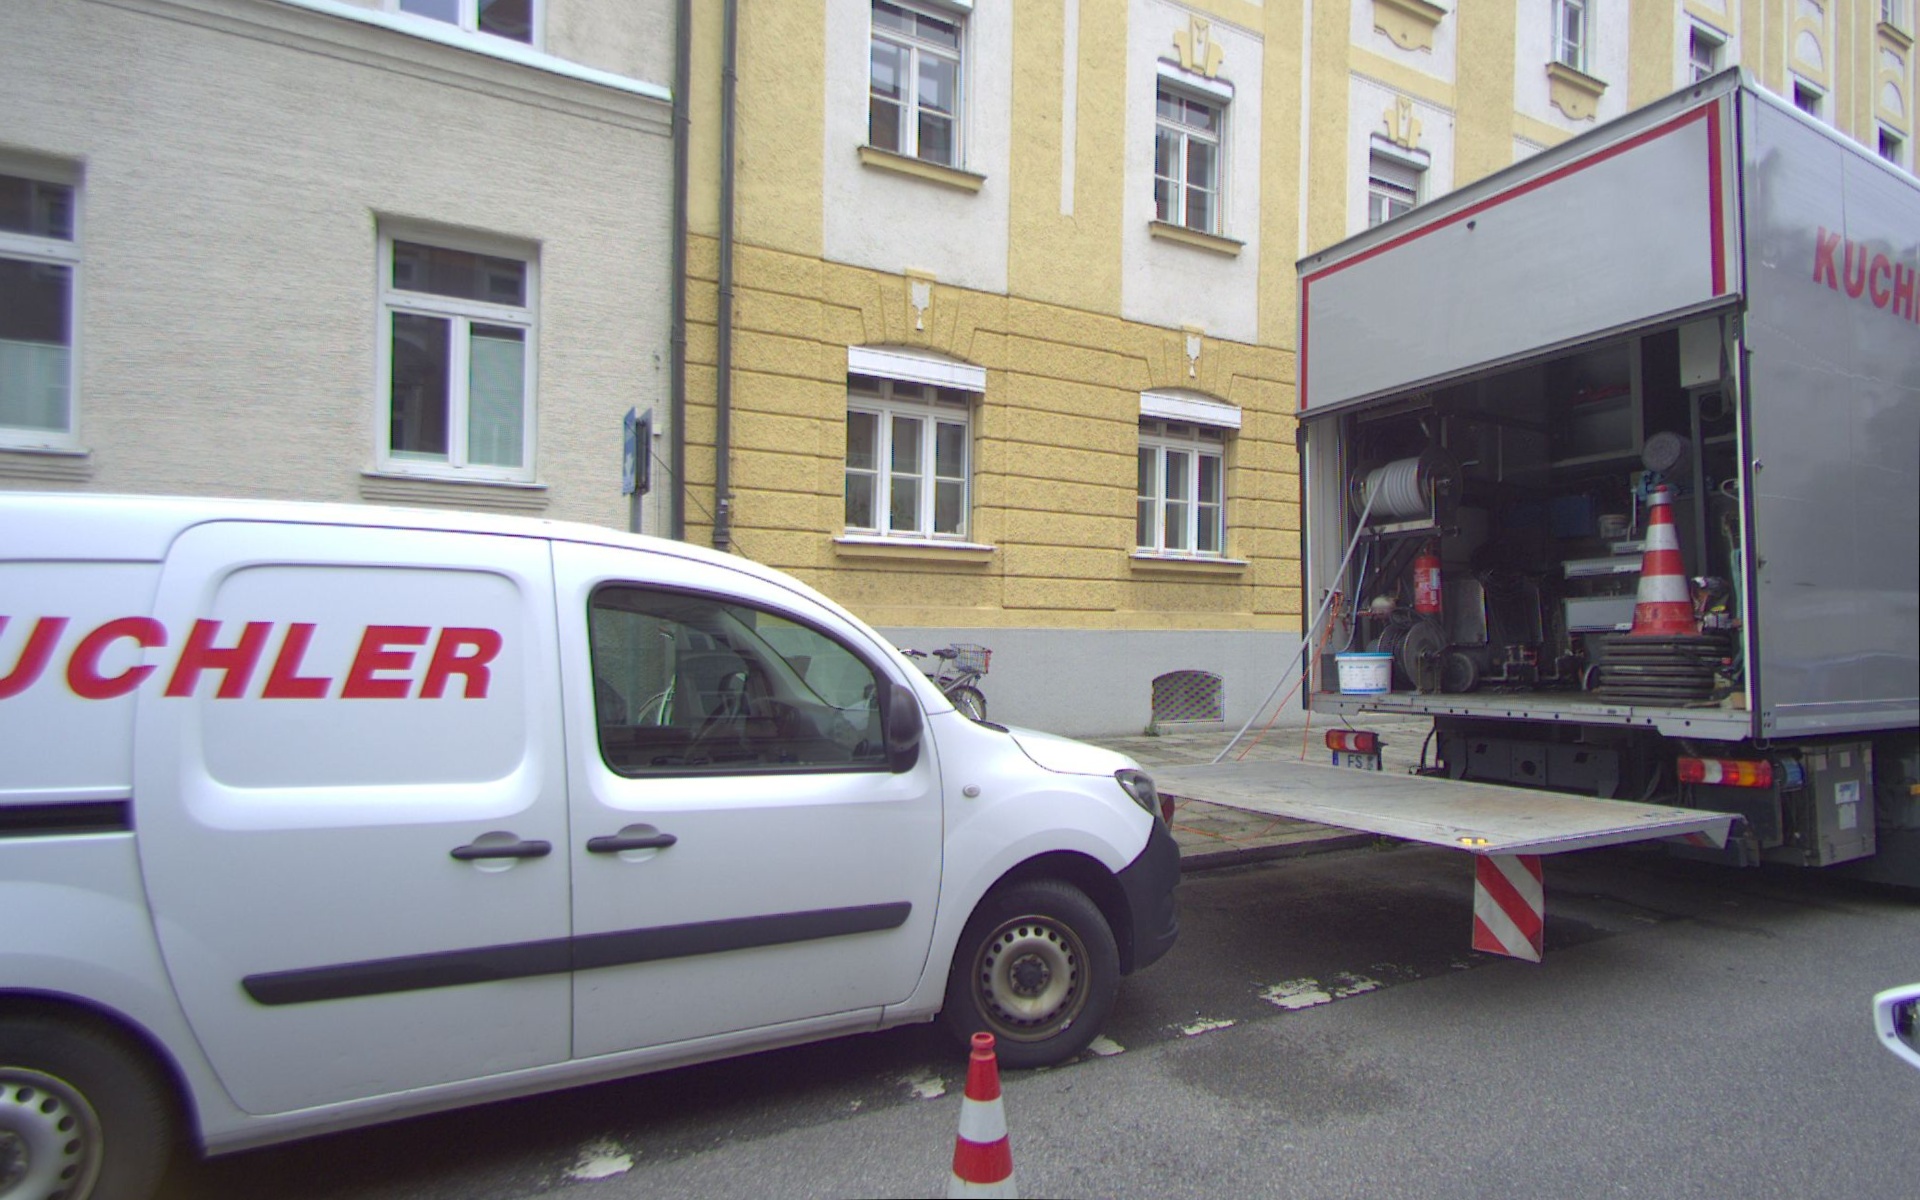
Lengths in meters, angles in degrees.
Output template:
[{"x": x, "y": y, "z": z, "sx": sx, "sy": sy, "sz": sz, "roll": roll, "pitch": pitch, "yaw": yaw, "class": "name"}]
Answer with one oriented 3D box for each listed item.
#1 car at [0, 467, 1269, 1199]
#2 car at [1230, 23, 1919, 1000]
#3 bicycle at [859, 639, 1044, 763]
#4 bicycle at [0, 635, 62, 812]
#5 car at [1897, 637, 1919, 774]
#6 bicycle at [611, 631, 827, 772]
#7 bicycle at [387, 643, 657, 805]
[{"x": -1.150, "y": 0.688, "z": 3.495, "sx": 4.271, "sy": 1.802, "sz": 1.756, "roll": 1, "pitch": -3, "yaw": -28, "class": "car"}, {"x": 6.177, "y": -0.241, "z": 7.300, "sx": 8.617, "sy": 3.868, "sz": 2.801, "roll": 2, "pitch": -1, "yaw": -29, "class": "car"}, {"x": -0.073, "y": 0.966, "z": 9.966, "sx": 1.745, "sy": 1.119, "sz": 0.604, "roll": 2, "pitch": -1, "yaw": -29, "class": "bicycle"}, {"x": -6.838, "y": 0.781, "z": 6.299, "sx": 1.714, "sy": 1.119, "sz": 0.426, "roll": 2, "pitch": -1, "yaw": -28, "class": "bicycle"}, {"x": 11.986, "y": 1.142, "z": 10.766, "sx": 3.660, "sy": 1.428, "sz": 1.693, "roll": 2, "pitch": -1, "yaw": -27, "class": "car"}, {"x": -2.091, "y": 0.858, "z": 8.806, "sx": 1.745, "sy": 1.119, "sz": 0.504, "roll": 2, "pitch": 2, "yaw": -29, "class": "bicycle"}, {"x": -3.322, "y": 0.899, "z": 7.744, "sx": 1.848, "sy": 1.119, "sz": 0.397, "roll": 2, "pitch": -1, "yaw": -39, "class": "bicycle"}]
